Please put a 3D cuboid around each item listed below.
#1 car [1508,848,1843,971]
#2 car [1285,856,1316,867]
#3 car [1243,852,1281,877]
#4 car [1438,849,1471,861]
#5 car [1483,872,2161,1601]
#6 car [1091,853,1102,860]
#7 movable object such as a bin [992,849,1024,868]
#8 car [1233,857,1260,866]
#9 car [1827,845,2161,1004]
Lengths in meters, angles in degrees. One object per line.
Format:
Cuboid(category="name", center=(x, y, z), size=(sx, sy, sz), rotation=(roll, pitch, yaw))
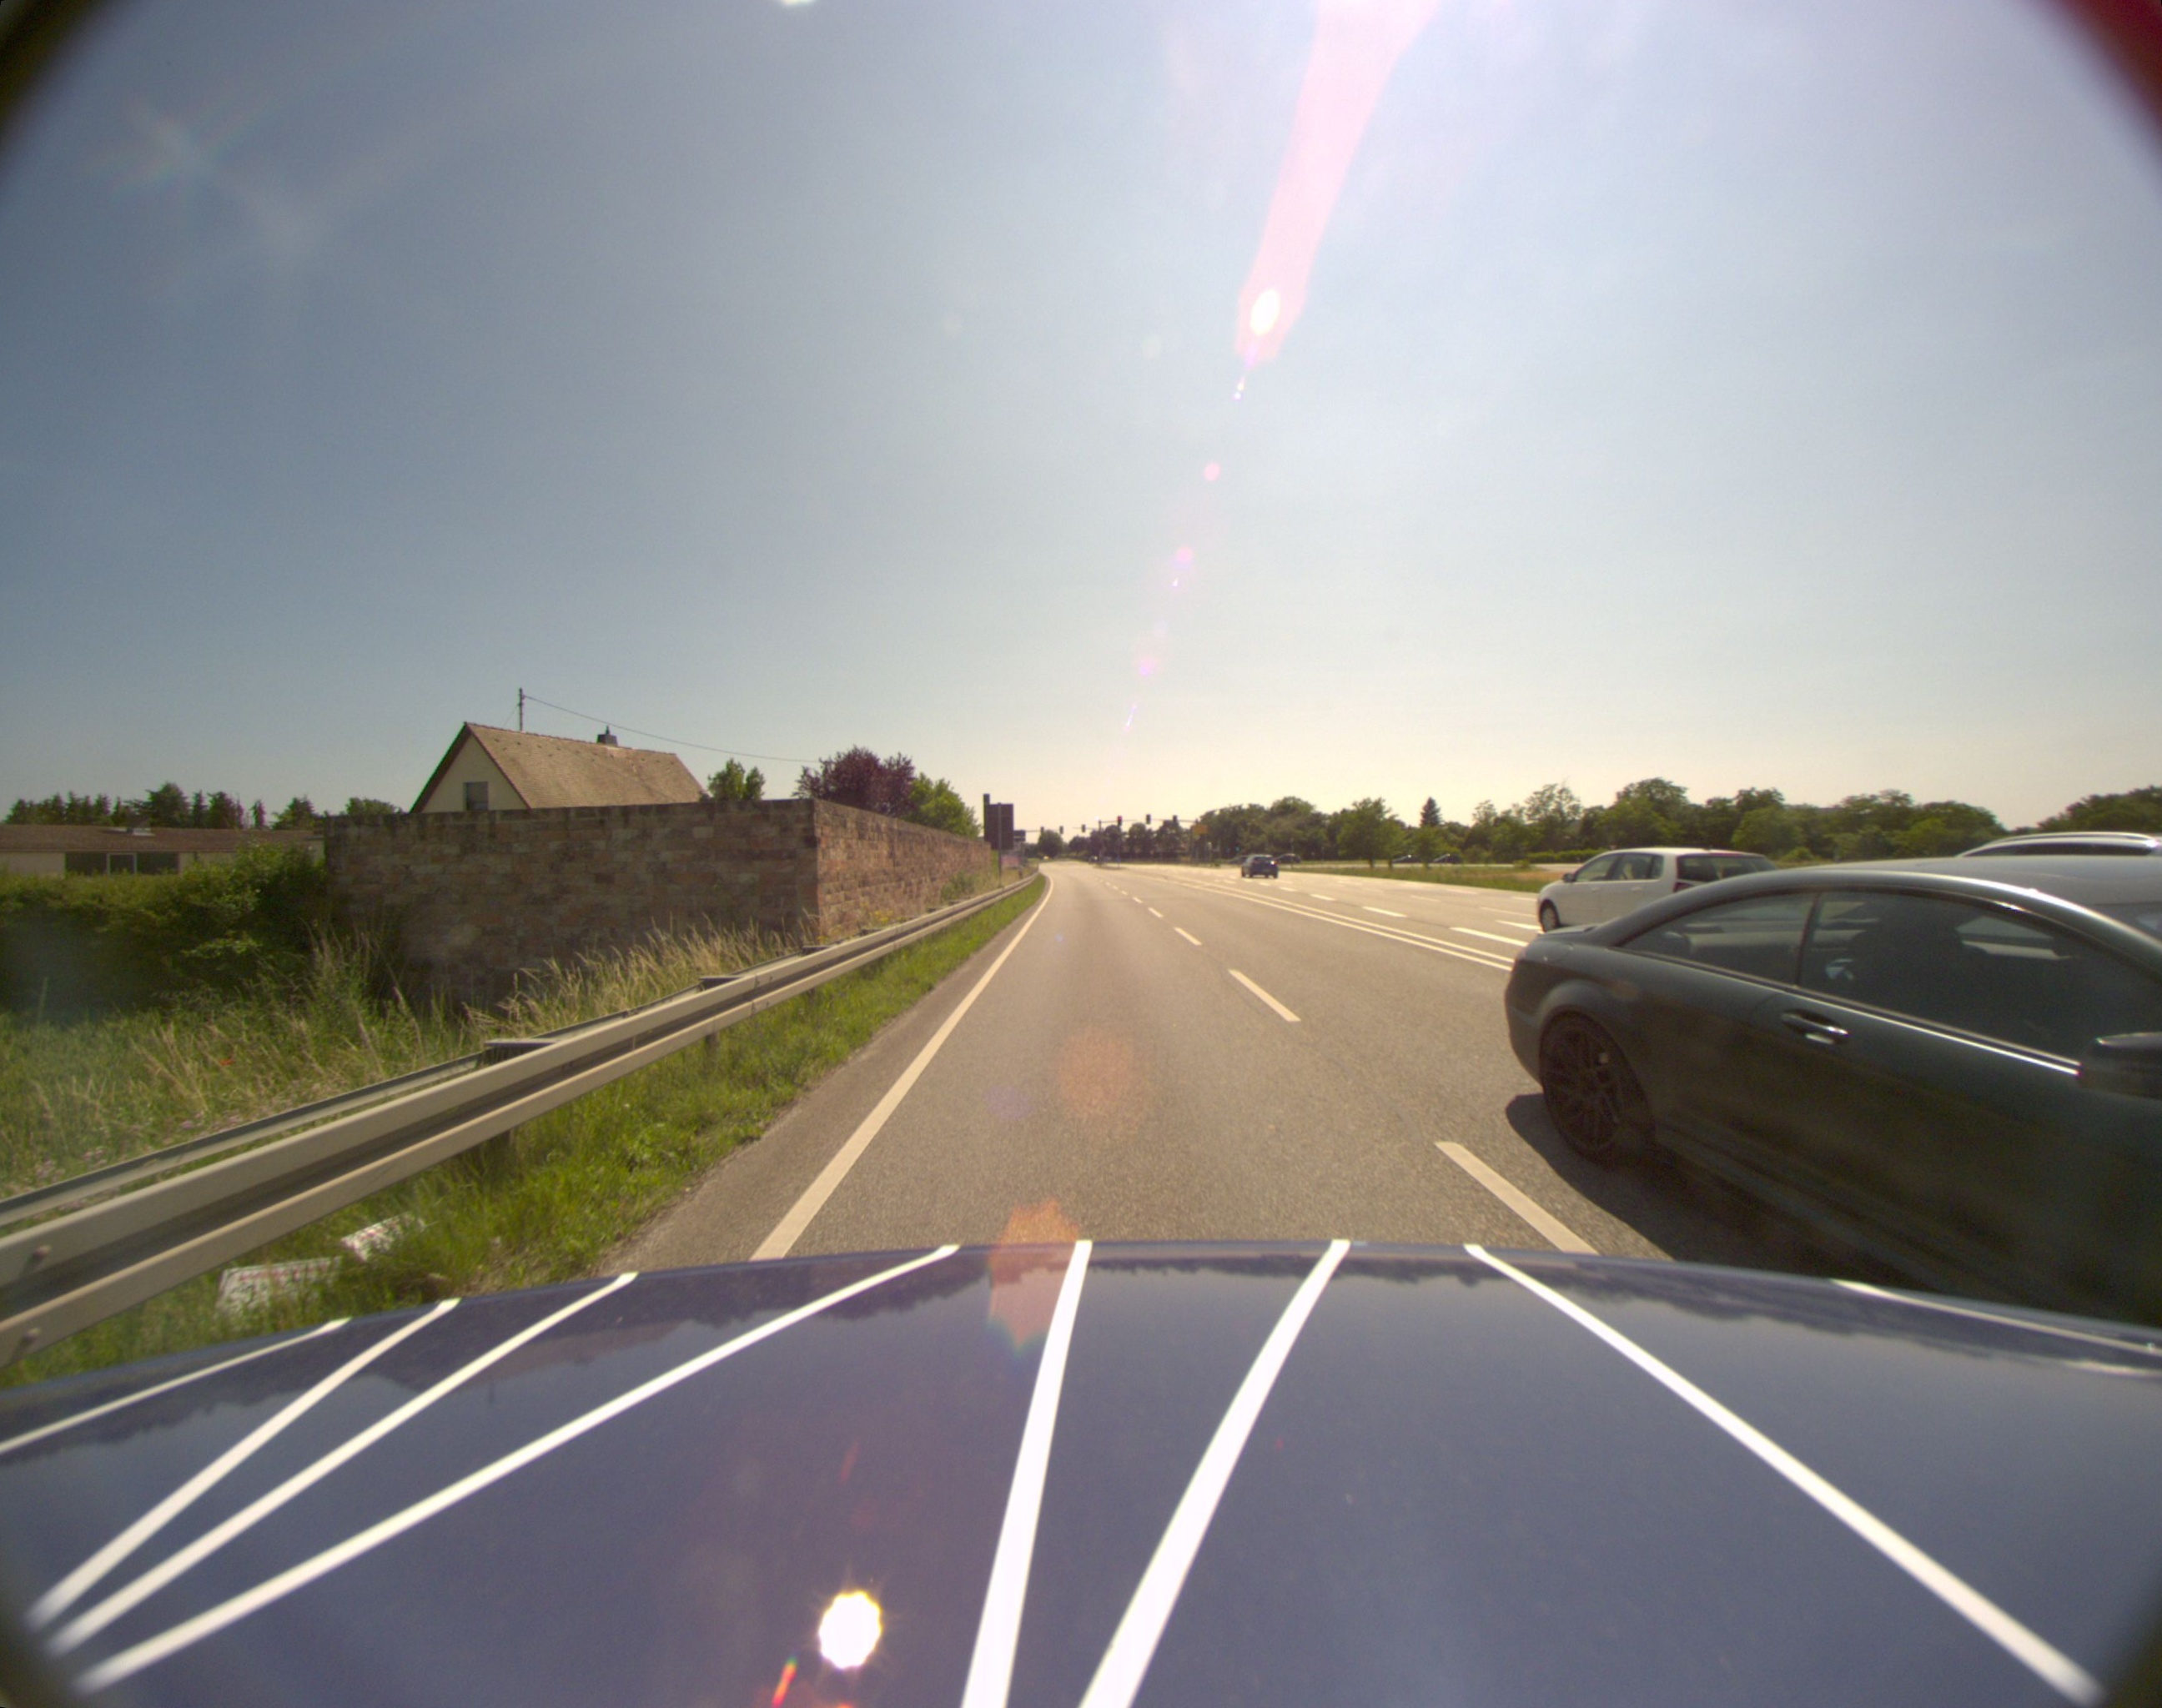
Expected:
Cuboid(category="car", center=(8.430, 0.714, 11.344), size=(1.753, 1.433, 4.082), rotation=(-2, -1, 0))
Cuboid(category="car", center=(32.574, 1.047, 112.996), size=(4.361, 1.585, 1.636), rotation=(0, 0, 13))
Cuboid(category="car", center=(11.461, 0.637, 48.330), size=(1.763, 1.449, 4.232), rotation=(1, 1, 5))
Cuboid(category="car", center=(53.005, 0.168, 107.868), size=(3.992, 1.565, 1.740), rotation=(-2, 1, 16))
Cuboid(category="car", center=(3.222, 0.862, 1.909), size=(1.815, 1.441, 4.877), rotation=(-2, 0, 0))
Cuboid(category="car", center=(3.598, 0.556, 176.135), size=(1.836, 1.591, 4.302), rotation=(0, 1, -7))
Cuboid(category="movable object such as a bin", center=(-9.685, 0.574, 100.885), size=(4.106, 2.318, 1.276), rotation=(-3, 1, -7))
Cuboid(category="car", center=(25.179, 1.123, 115.798), size=(3.874, 1.379, 1.636), rotation=(-1, 0, 11))
Cuboid(category="car", center=(12.364, 0.751, 9.655), size=(1.668, 1.667, 4.465), rotation=(1, 0, 6))
